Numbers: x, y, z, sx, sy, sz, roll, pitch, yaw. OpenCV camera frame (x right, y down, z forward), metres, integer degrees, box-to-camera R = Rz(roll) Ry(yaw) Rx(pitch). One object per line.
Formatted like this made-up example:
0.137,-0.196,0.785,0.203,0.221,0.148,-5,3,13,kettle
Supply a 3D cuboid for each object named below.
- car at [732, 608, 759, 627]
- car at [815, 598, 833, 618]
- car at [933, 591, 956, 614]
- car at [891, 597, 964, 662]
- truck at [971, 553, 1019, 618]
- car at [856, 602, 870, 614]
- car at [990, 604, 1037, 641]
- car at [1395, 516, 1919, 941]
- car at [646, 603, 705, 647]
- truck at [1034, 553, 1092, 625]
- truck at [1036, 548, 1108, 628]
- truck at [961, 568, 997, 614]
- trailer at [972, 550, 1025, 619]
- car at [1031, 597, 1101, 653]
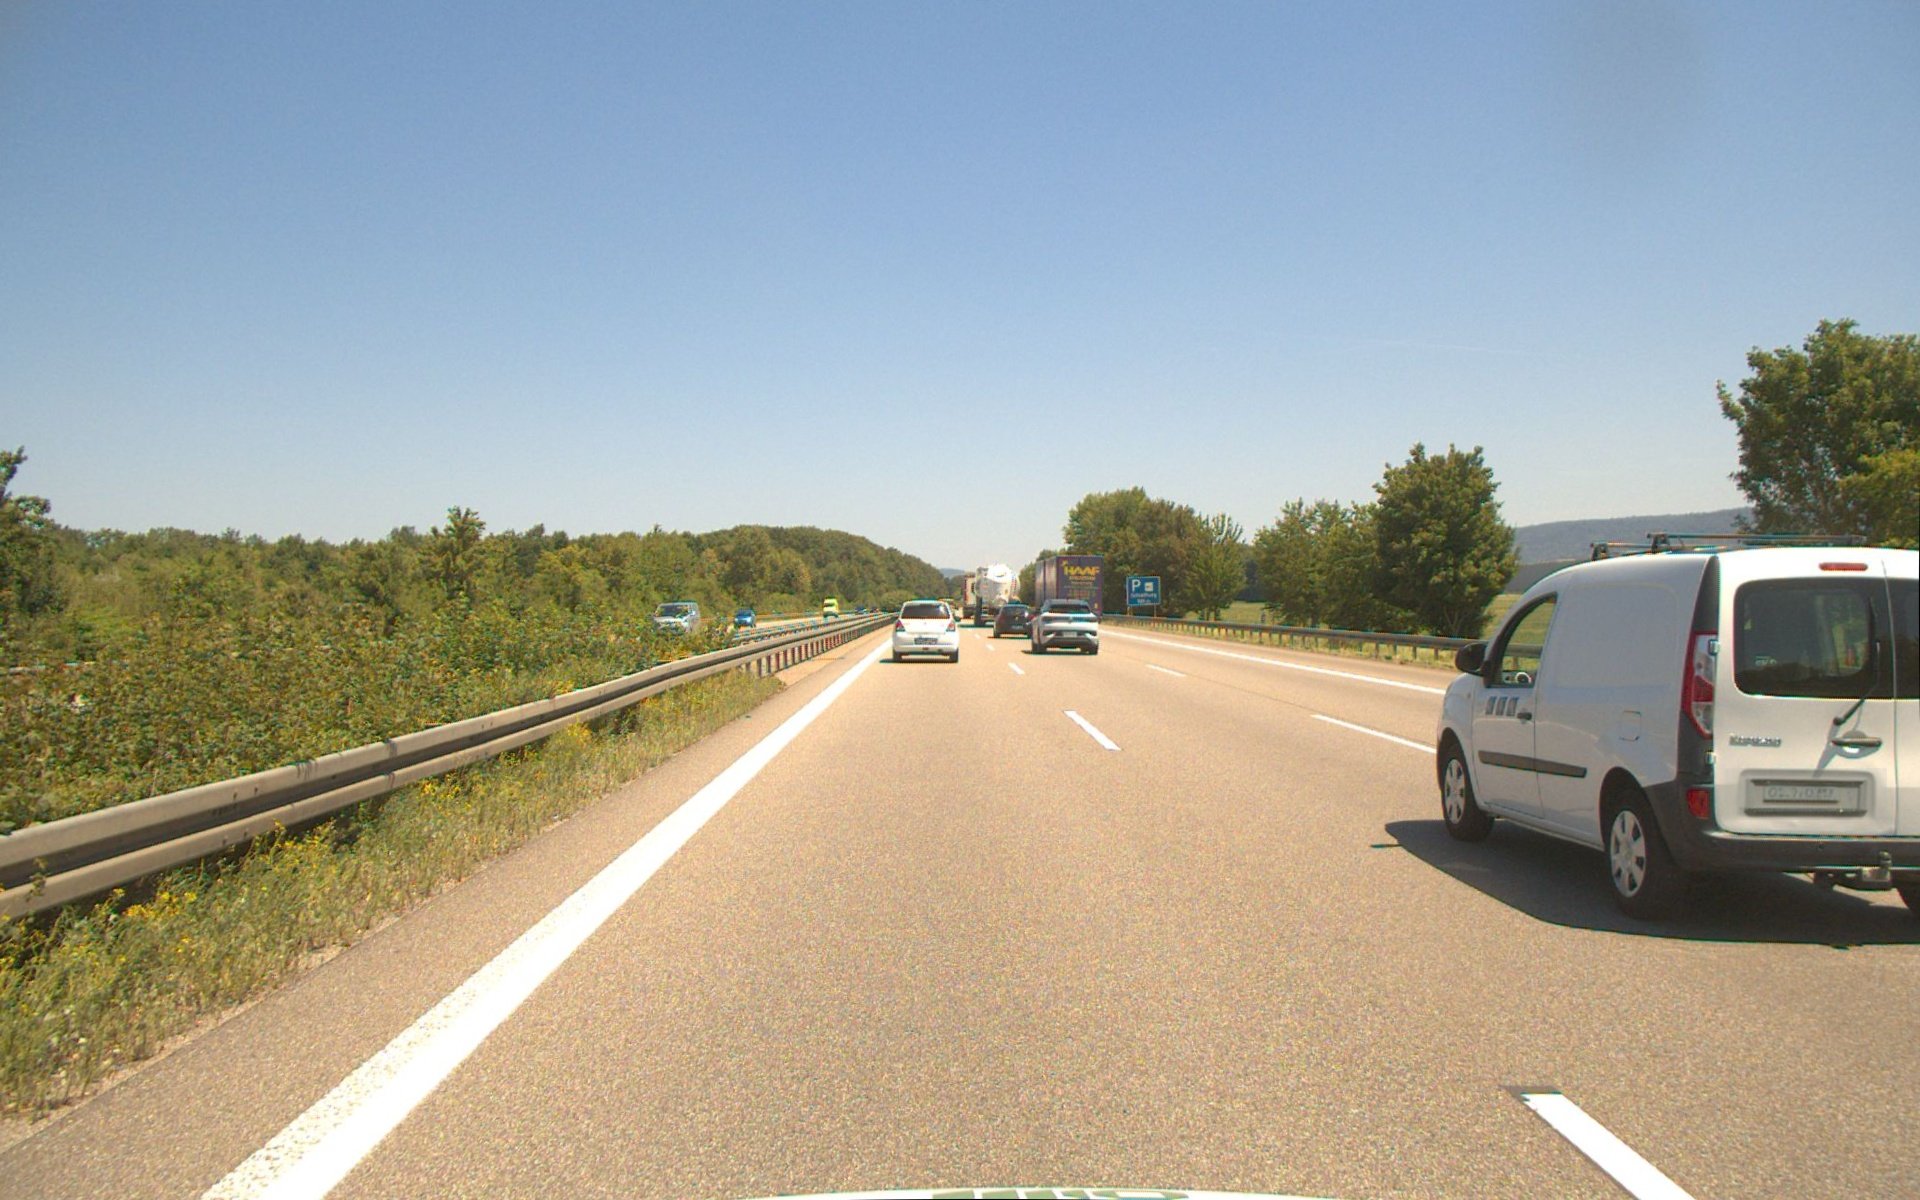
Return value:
-17.771,1.447,137.145,1.531,1.449,3.473,-3,-1,4,car
-20.158,1.207,245.214,2.121,2.827,5.798,-3,0,-1,car
-1.703,0.292,181.441,2.424,2.395,5.181,1,0,0,car
-0.829,0.718,42.181,1.763,1.579,3.609,1,0,-2,car
2.293,-0.955,110.716,2.853,4.150,7.194,1,0,-1,truck
-14.770,1.261,251.688,1.830,1.719,4.625,-3,0,-1,car
2.297,0.952,71.598,1.813,1.549,3.956,1,0,-1,car
4.162,0.582,9.781,1.815,1.895,4.701,1,0,-2,car
-13.871,1.177,80.930,2.000,1.958,5.225,-3,0,-2,car
6.284,-0.634,102.101,3.045,4.211,8.056,1,0,0,truck
6.325,-0.623,95.851,3.045,4.211,15.510,1,0,0,truck
1.798,-0.849,159.944,3.325,4.287,12.082,1,0,0,truck
2.351,-0.957,106.481,2.852,4.140,12.415,1,0,-1,trailer
3.195,0.729,50.465,1.765,1.631,4.380,1,0,-1,car
